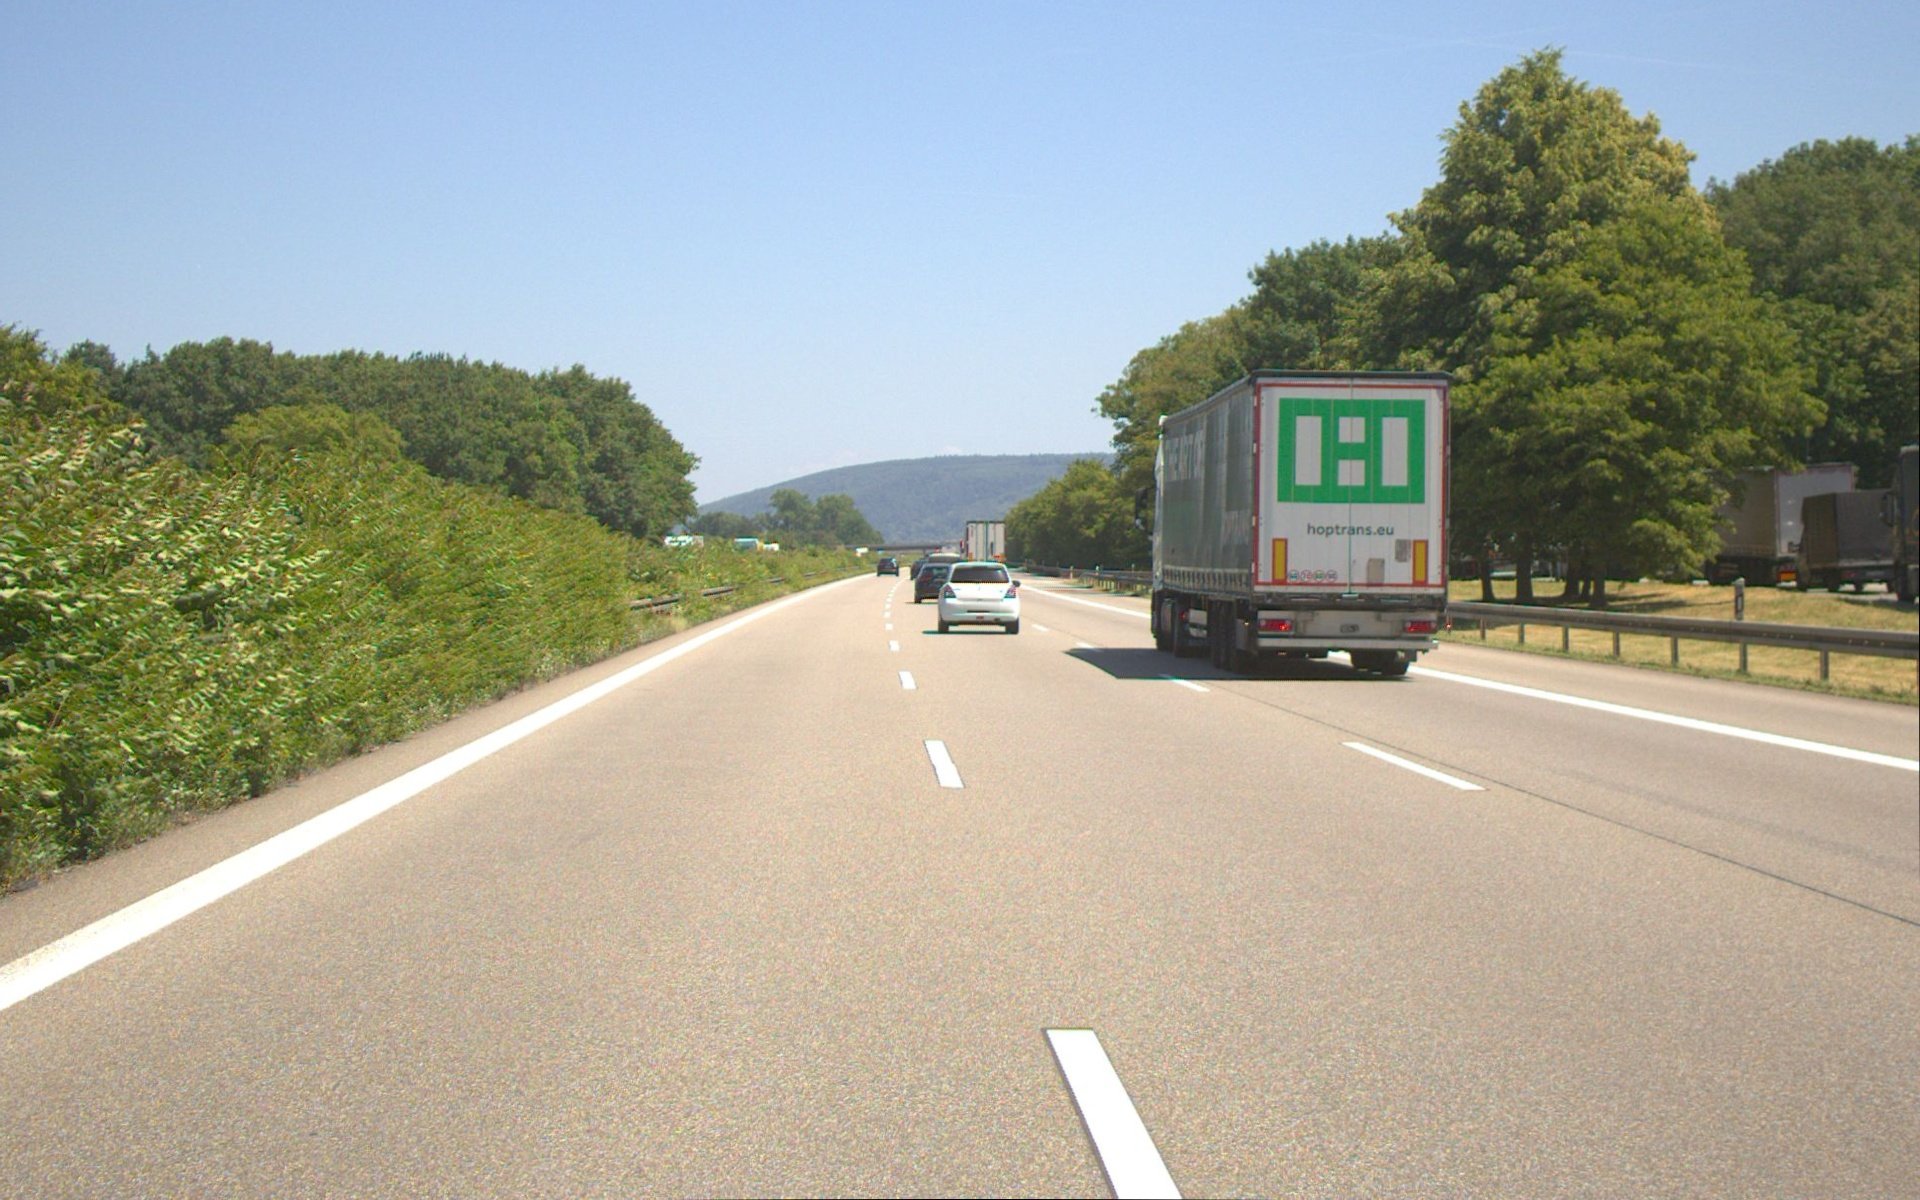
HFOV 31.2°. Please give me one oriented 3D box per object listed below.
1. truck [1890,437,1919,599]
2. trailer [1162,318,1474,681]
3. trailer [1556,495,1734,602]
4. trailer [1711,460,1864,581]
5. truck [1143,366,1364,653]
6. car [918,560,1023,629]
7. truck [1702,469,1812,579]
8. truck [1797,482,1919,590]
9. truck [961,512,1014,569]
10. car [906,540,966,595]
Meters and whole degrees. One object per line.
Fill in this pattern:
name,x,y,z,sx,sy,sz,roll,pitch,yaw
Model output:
truck,25.119,-2.004,85.133,3.185,3.921,6.615,0,1,8
trailer,4.917,-1.374,49.847,3.182,4.611,12.051,0,1,0
trailer,26.874,-2.035,135.734,3.135,3.939,14.199,-1,1,-4
trailer,27.534,-2.595,114.998,3.103,3.777,13.360,1,1,6
truck,4.864,-1.490,58.113,3.182,4.591,5.948,0,1,0
car,0.199,-0.137,73.502,1.811,1.400,3.318,-1,1,-7
truck,28.205,-2.691,121.814,3.089,3.777,5.315,1,1,6
truck,26.650,-1.899,102.052,2.468,3.076,6.616,1,1,5
truck,1.820,-3.993,231.848,3.325,3.744,12.796,1,1,0
car,-0.836,-1.176,122.113,1.897,1.886,4.000,-1,1,2
